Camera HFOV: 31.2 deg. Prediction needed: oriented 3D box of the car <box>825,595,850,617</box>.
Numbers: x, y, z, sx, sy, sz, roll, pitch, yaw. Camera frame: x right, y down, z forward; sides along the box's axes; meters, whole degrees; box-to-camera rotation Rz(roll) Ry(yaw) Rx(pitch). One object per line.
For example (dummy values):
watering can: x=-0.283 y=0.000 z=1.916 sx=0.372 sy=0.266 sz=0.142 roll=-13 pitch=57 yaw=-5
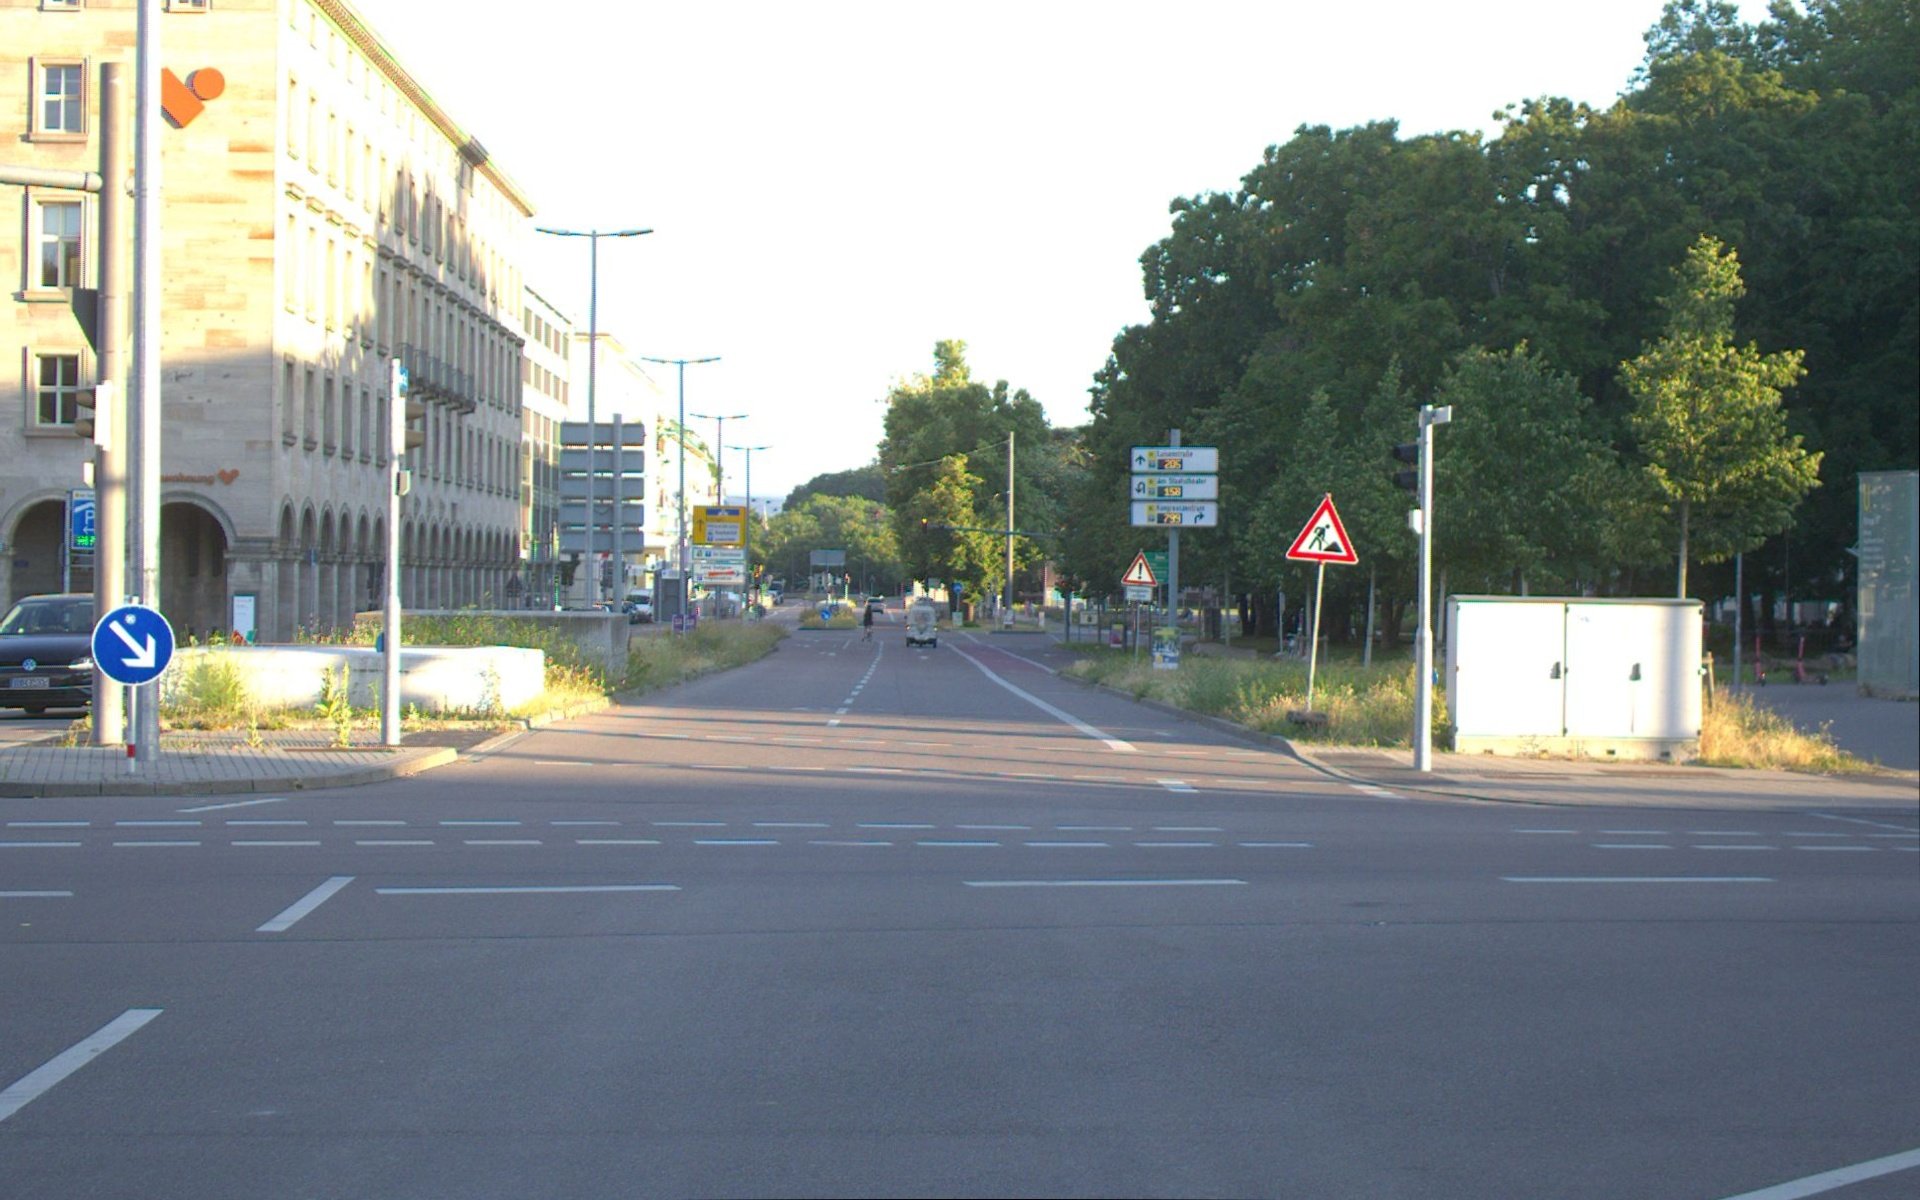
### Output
car: x=-7.217 y=0.324 z=202.751 sx=1.369 sy=1.230 sz=3.045 roll=1 pitch=1 yaw=0

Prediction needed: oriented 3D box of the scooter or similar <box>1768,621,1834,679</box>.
scooter or similar: x=18.421 y=1.078 z=75.347 sx=0.569 sy=1.199 sz=2.984 roll=1 pitch=1 yaw=-2

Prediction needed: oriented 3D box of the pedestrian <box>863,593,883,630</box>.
pedestrian: x=-4.103 y=0.540 z=162.027 sx=0.906 sy=1.665 sz=1.307 roll=1 pitch=1 yaw=-3

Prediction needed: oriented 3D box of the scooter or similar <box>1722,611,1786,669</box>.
scooter or similar: x=17.380 y=0.860 z=75.279 sx=0.569 sy=1.199 sz=2.984 roll=1 pitch=1 yaw=-2

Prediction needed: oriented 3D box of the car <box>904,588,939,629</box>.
car: x=-1.653 y=0.358 z=147.701 sx=1.483 sy=1.690 sz=2.974 roll=1 pitch=0 yaw=0

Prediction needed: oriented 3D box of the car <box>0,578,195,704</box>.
car: x=-10.296 y=0.446 z=40.067 sx=1.823 sy=1.337 sz=4.000 roll=1 pitch=1 yaw=0

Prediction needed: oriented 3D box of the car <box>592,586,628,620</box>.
car: x=-17.242 y=0.152 z=169.525 sx=1.556 sy=1.584 sz=4.001 roll=1 pitch=1 yaw=-3
